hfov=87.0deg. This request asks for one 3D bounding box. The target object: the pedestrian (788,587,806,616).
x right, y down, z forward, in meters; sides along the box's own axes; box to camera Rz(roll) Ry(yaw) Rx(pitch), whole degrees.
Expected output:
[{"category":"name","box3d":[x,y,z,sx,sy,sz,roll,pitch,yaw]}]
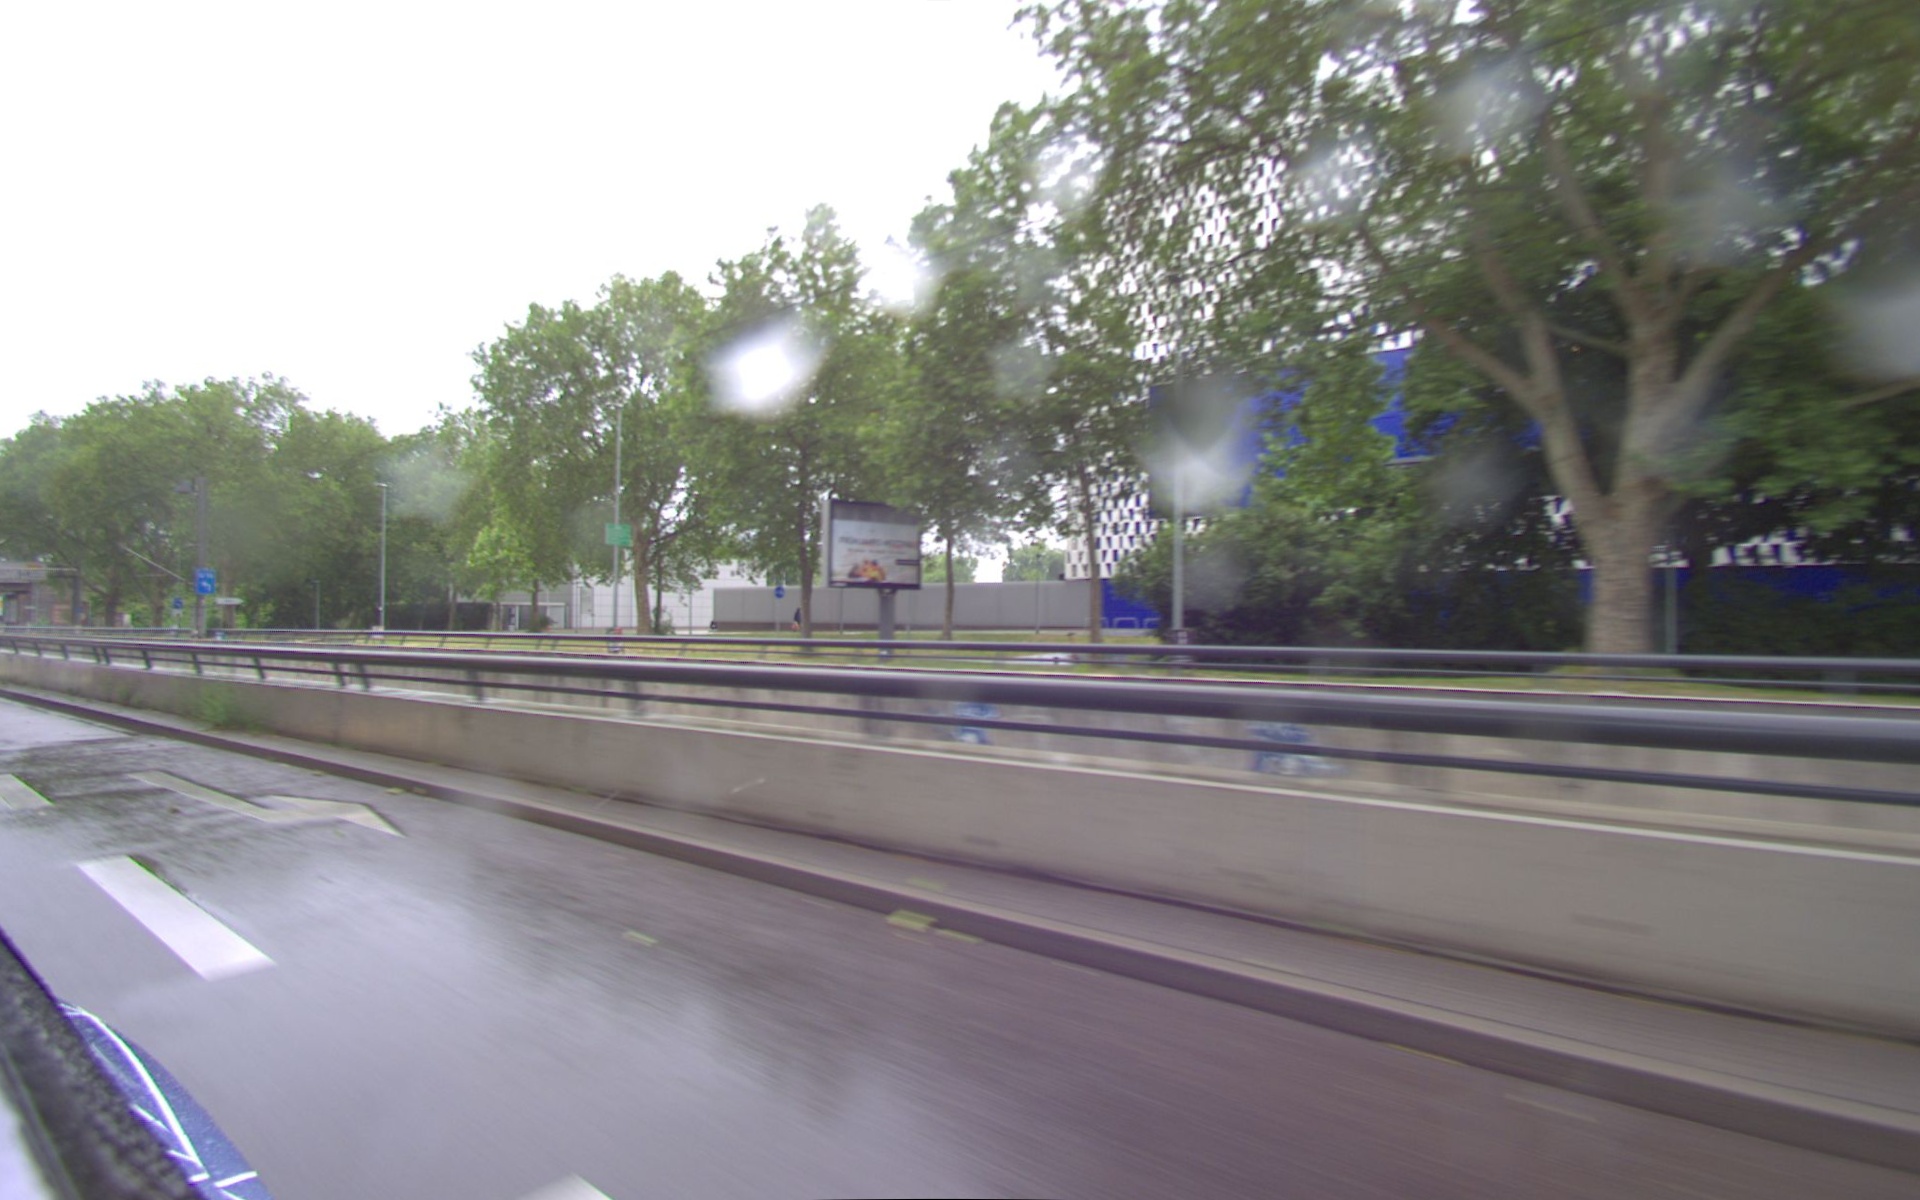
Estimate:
[{"category":"pedestrian","box3d":[-11.548,0.074,71.596,0.789,2.029,0.991,0,1,40]}]

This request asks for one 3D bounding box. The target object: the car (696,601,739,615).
[{"category":"car","box3d":[-23.917,0.780,99.892,1.998,1.414,3.744,0,0,39]}]
